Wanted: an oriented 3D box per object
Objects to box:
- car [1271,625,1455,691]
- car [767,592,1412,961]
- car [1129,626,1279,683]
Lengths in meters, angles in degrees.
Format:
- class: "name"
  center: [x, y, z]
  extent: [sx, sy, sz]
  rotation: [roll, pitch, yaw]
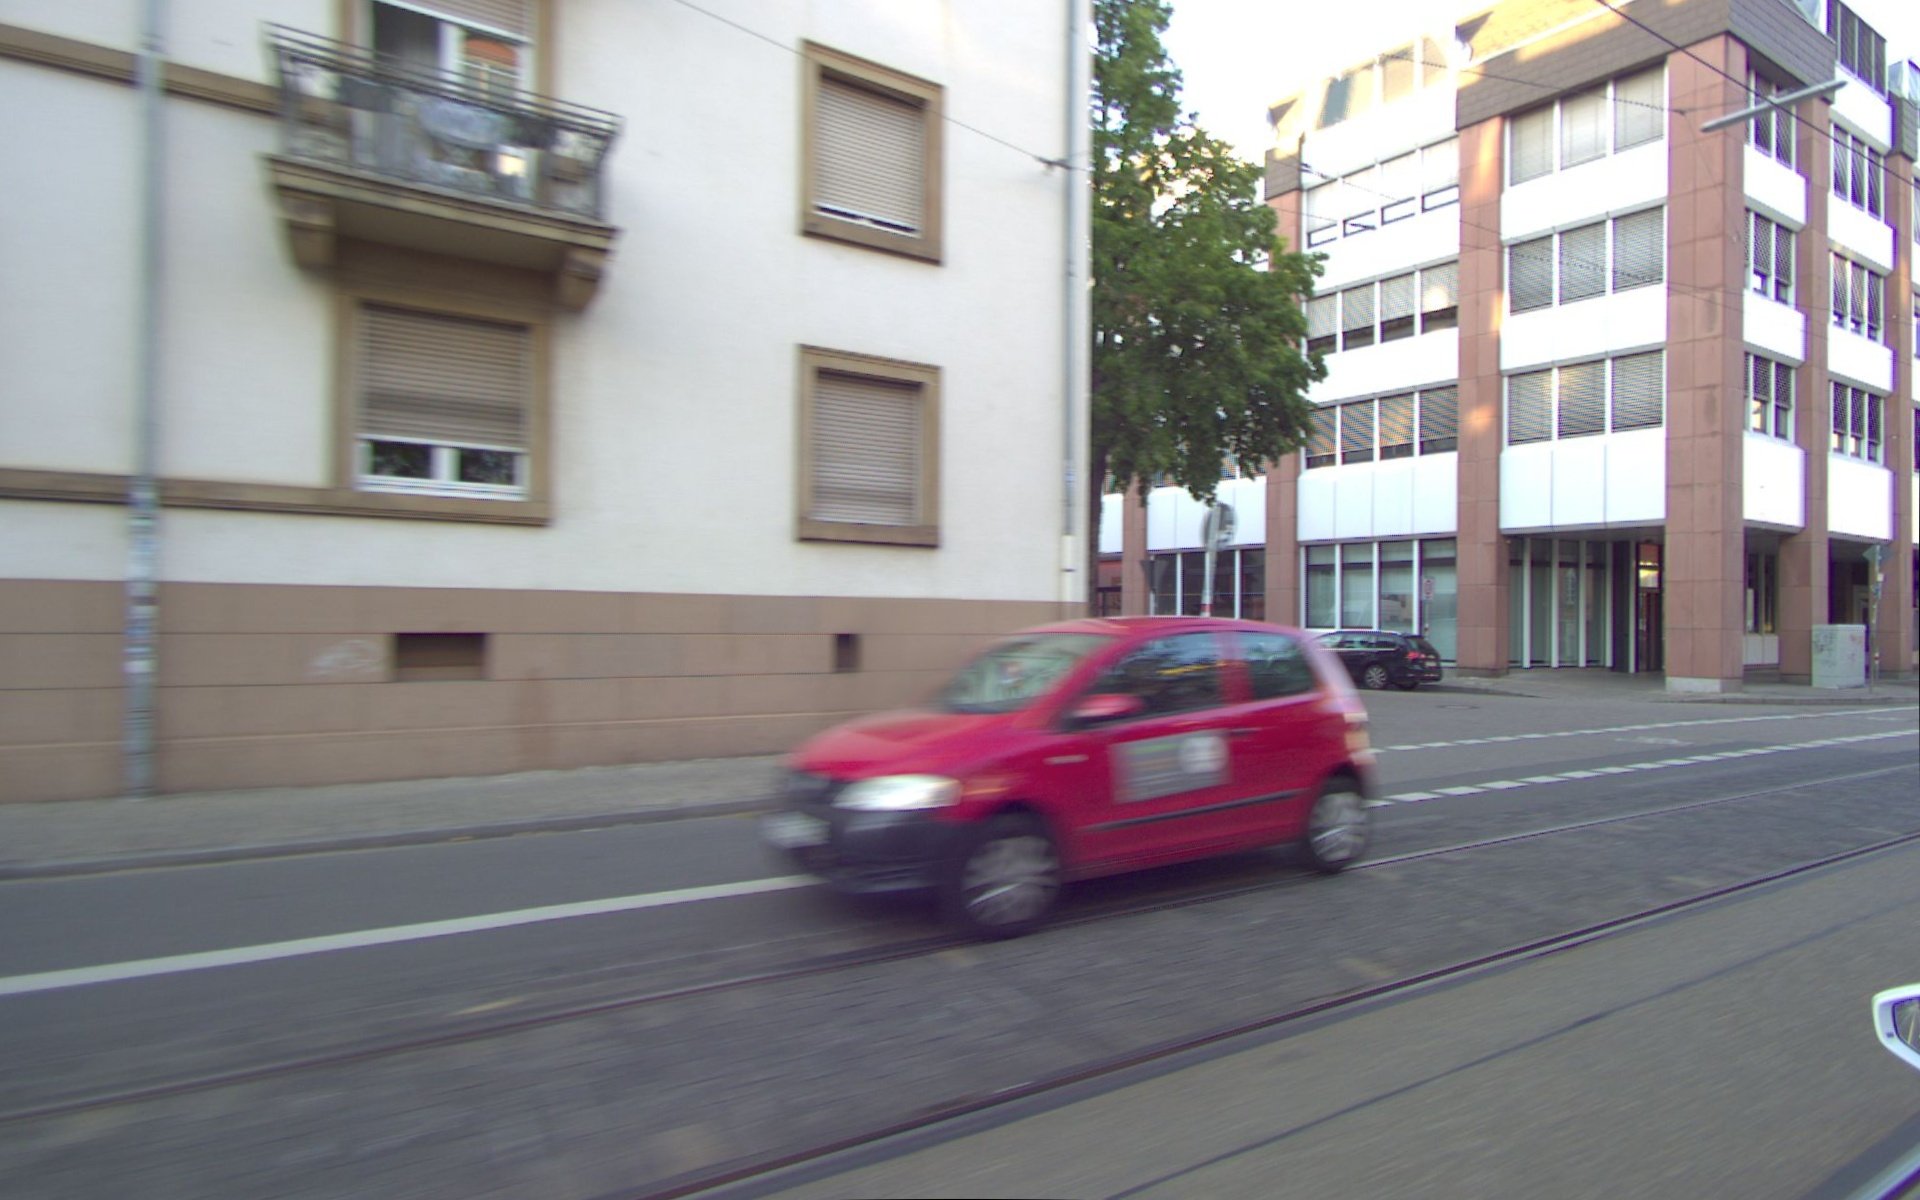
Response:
- class: "car"
  center: [10.215, 1.442, 25.681]
  extent: [1.906, 1.524, 3.958]
  rotation: [3, -3, -37]
- class: "car"
  center: [0.885, 0.811, 5.993]
  extent: [3.715, 1.578, 1.550]
  rotation: [1, -2, -33]
- class: "car"
  center: [7.092, 1.565, 29.507]
  extent: [1.906, 1.524, 3.958]
  rotation: [3, -3, -37]
